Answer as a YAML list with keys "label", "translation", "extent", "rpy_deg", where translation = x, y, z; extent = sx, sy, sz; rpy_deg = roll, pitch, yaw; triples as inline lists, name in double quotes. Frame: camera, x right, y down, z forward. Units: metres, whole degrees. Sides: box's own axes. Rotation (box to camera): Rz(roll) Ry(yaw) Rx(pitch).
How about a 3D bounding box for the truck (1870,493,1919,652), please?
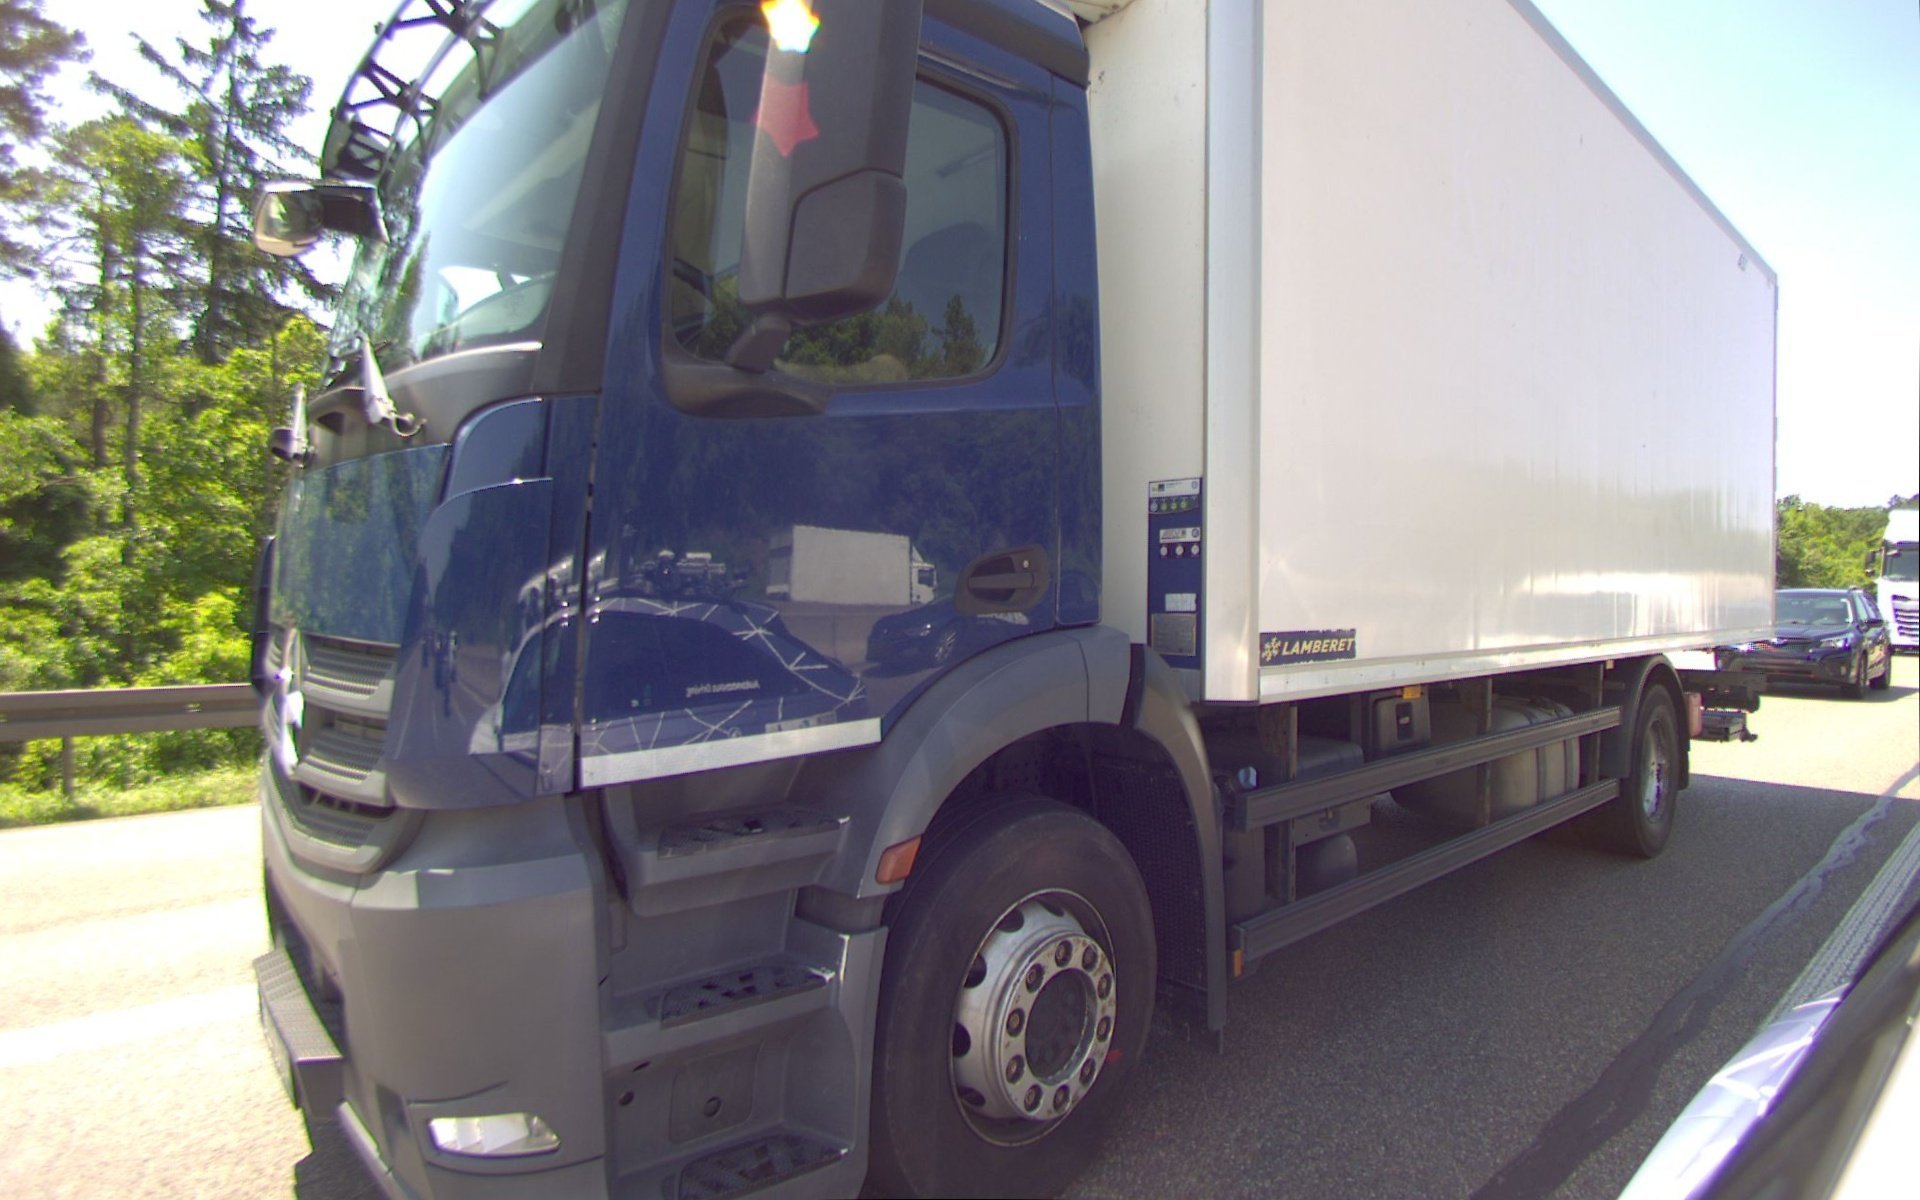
- label: "truck"
  translation: [27.990, -0.783, 28.381]
  extent: [7.206, 4.135, 2.765]
  rpy_deg: [-1, 1, -41]

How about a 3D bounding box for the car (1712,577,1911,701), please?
- label: "car"
  translation: [14.122, 0.500, 16.686]
  extent: [4.534, 1.713, 1.996]
  rpy_deg: [-1, 3, -44]

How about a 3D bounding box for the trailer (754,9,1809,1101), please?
- label: "trailer"
  translation: [2.801, -0.145, 6.243]
  extent: [7.744, 2.935, 2.560]
  rpy_deg: [0, 0, -41]

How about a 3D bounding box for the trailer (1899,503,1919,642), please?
- label: "trailer"
  translation: [33.445, -0.867, 33.092]
  extent: [11.416, 4.133, 2.765]
  rpy_deg: [-1, 3, -41]

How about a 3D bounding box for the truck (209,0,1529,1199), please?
- label: "truck"
  translation: [-0.097, -0.098, 3.673]
  extent: [4.033, 2.977, 2.560]
  rpy_deg: [-1, 2, -41]
